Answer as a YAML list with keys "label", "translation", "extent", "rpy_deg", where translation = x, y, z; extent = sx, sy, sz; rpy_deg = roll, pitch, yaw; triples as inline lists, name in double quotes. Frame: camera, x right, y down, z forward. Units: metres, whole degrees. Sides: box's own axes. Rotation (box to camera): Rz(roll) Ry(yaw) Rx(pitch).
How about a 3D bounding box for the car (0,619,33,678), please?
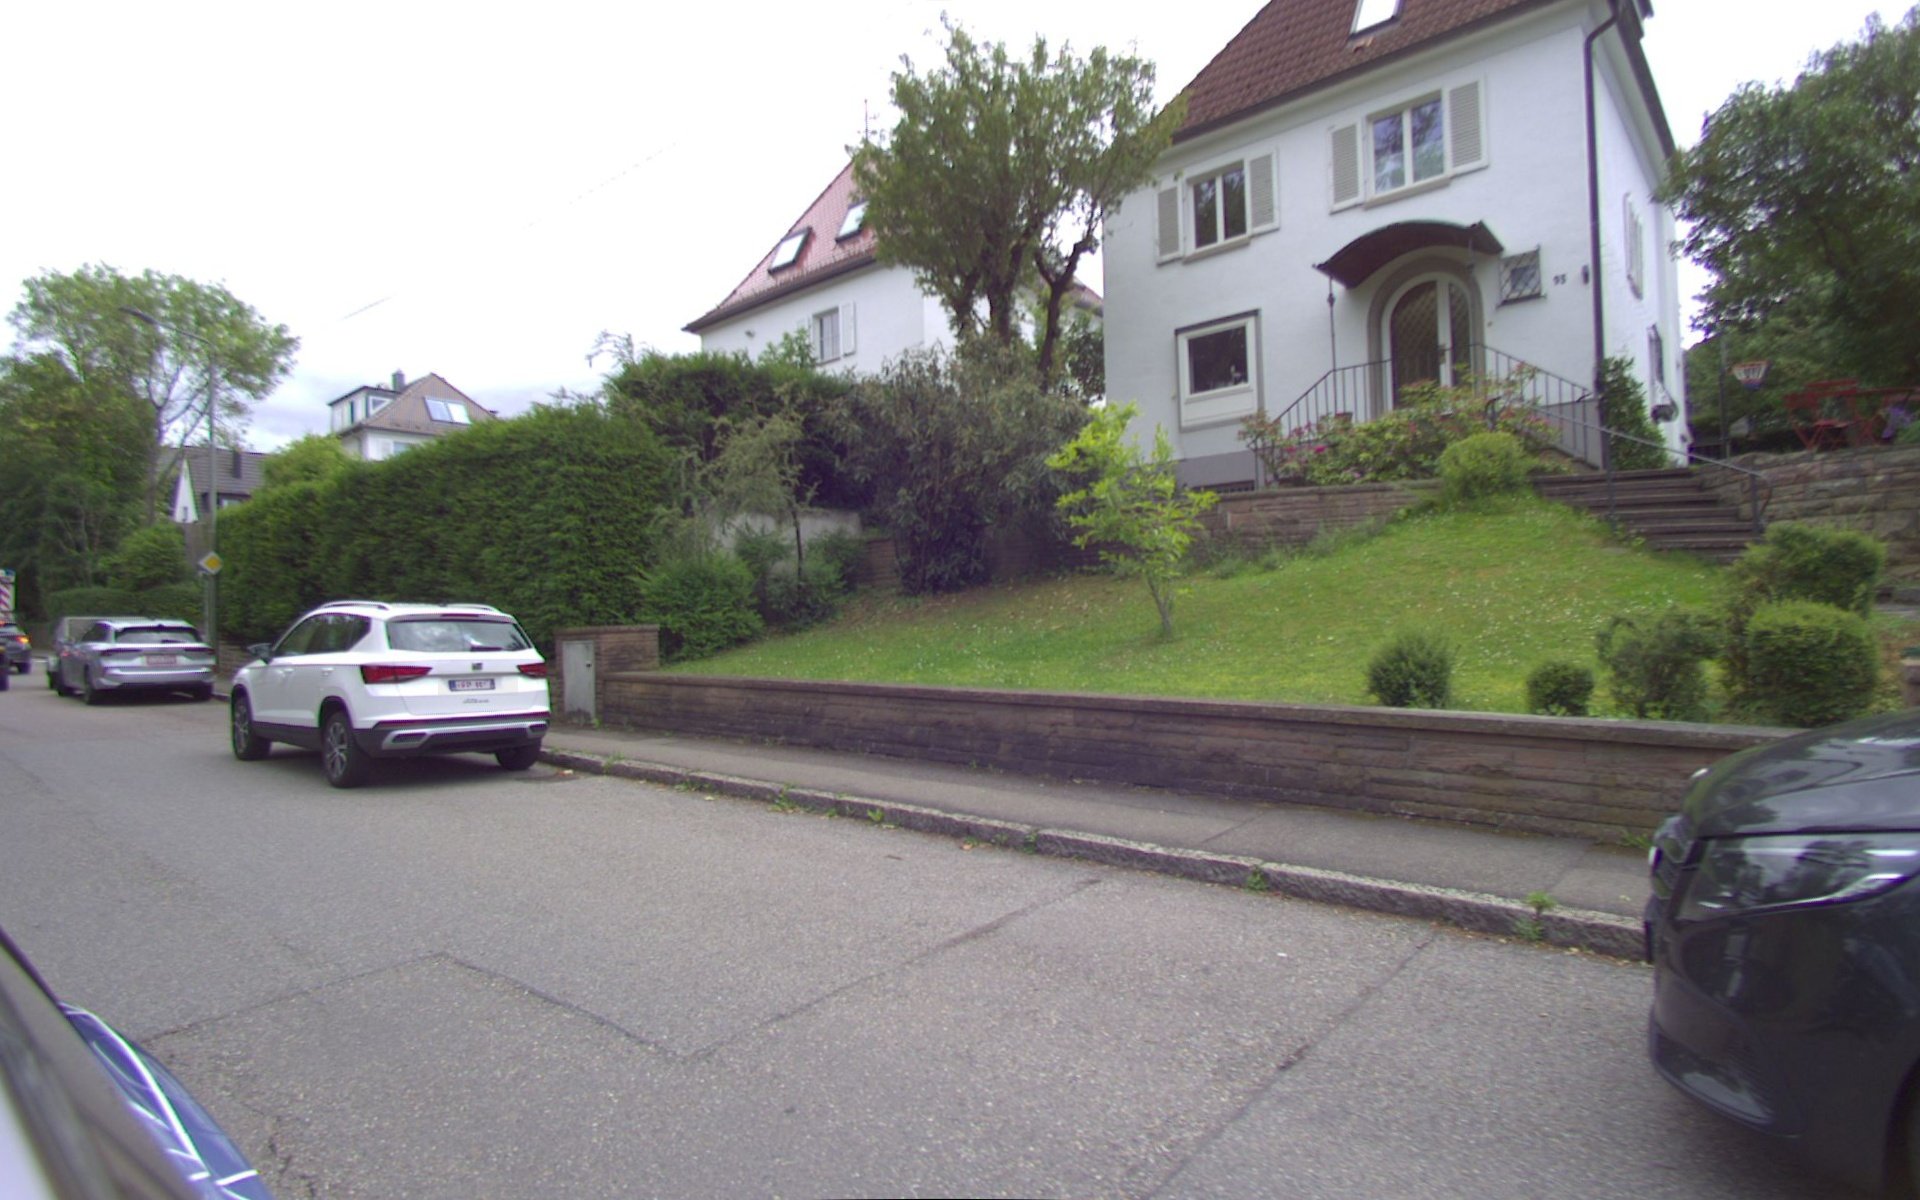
- label: "car"
  translation: [-25.844, 1.232, 26.392]
  extent: [4.467, 1.457, 1.747]
  rpy_deg: [-1, -1, 38]

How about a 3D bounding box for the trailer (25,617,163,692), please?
- label: "trailer"
  translation: [-19.185, 1.133, 22.356]
  extent: [4.472, 1.507, 1.745]
  rpy_deg: [-1, -2, 42]

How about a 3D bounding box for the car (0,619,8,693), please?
- label: "car"
  translation: [-21.015, 1.126, 20.740]
  extent: [4.471, 1.457, 1.745]
  rpy_deg: [-1, -2, 41]

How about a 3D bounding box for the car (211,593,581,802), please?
- label: "car"
  translation: [-5.738, 0.832, 10.106]
  extent: [4.182, 1.661, 1.820]
  rpy_deg: [-1, -2, 40]

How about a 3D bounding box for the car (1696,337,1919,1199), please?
- label: "car"
  translation: [4.154, 0.397, 1.320]
  extent: [5.034, 1.941, 1.844]
  rpy_deg: [-1, 0, 40]

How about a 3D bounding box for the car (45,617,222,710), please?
- label: "car"
  translation: [-15.290, 1.094, 18.640]
  extent: [4.471, 1.511, 1.745]
  rpy_deg: [-1, -3, 41]

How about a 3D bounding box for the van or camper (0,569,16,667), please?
- label: "van or camper"
  translation: [-32.062, 0.573, 32.189]
  extent: [7.167, 2.917, 2.429]
  rpy_deg: [-1, -1, 43]
